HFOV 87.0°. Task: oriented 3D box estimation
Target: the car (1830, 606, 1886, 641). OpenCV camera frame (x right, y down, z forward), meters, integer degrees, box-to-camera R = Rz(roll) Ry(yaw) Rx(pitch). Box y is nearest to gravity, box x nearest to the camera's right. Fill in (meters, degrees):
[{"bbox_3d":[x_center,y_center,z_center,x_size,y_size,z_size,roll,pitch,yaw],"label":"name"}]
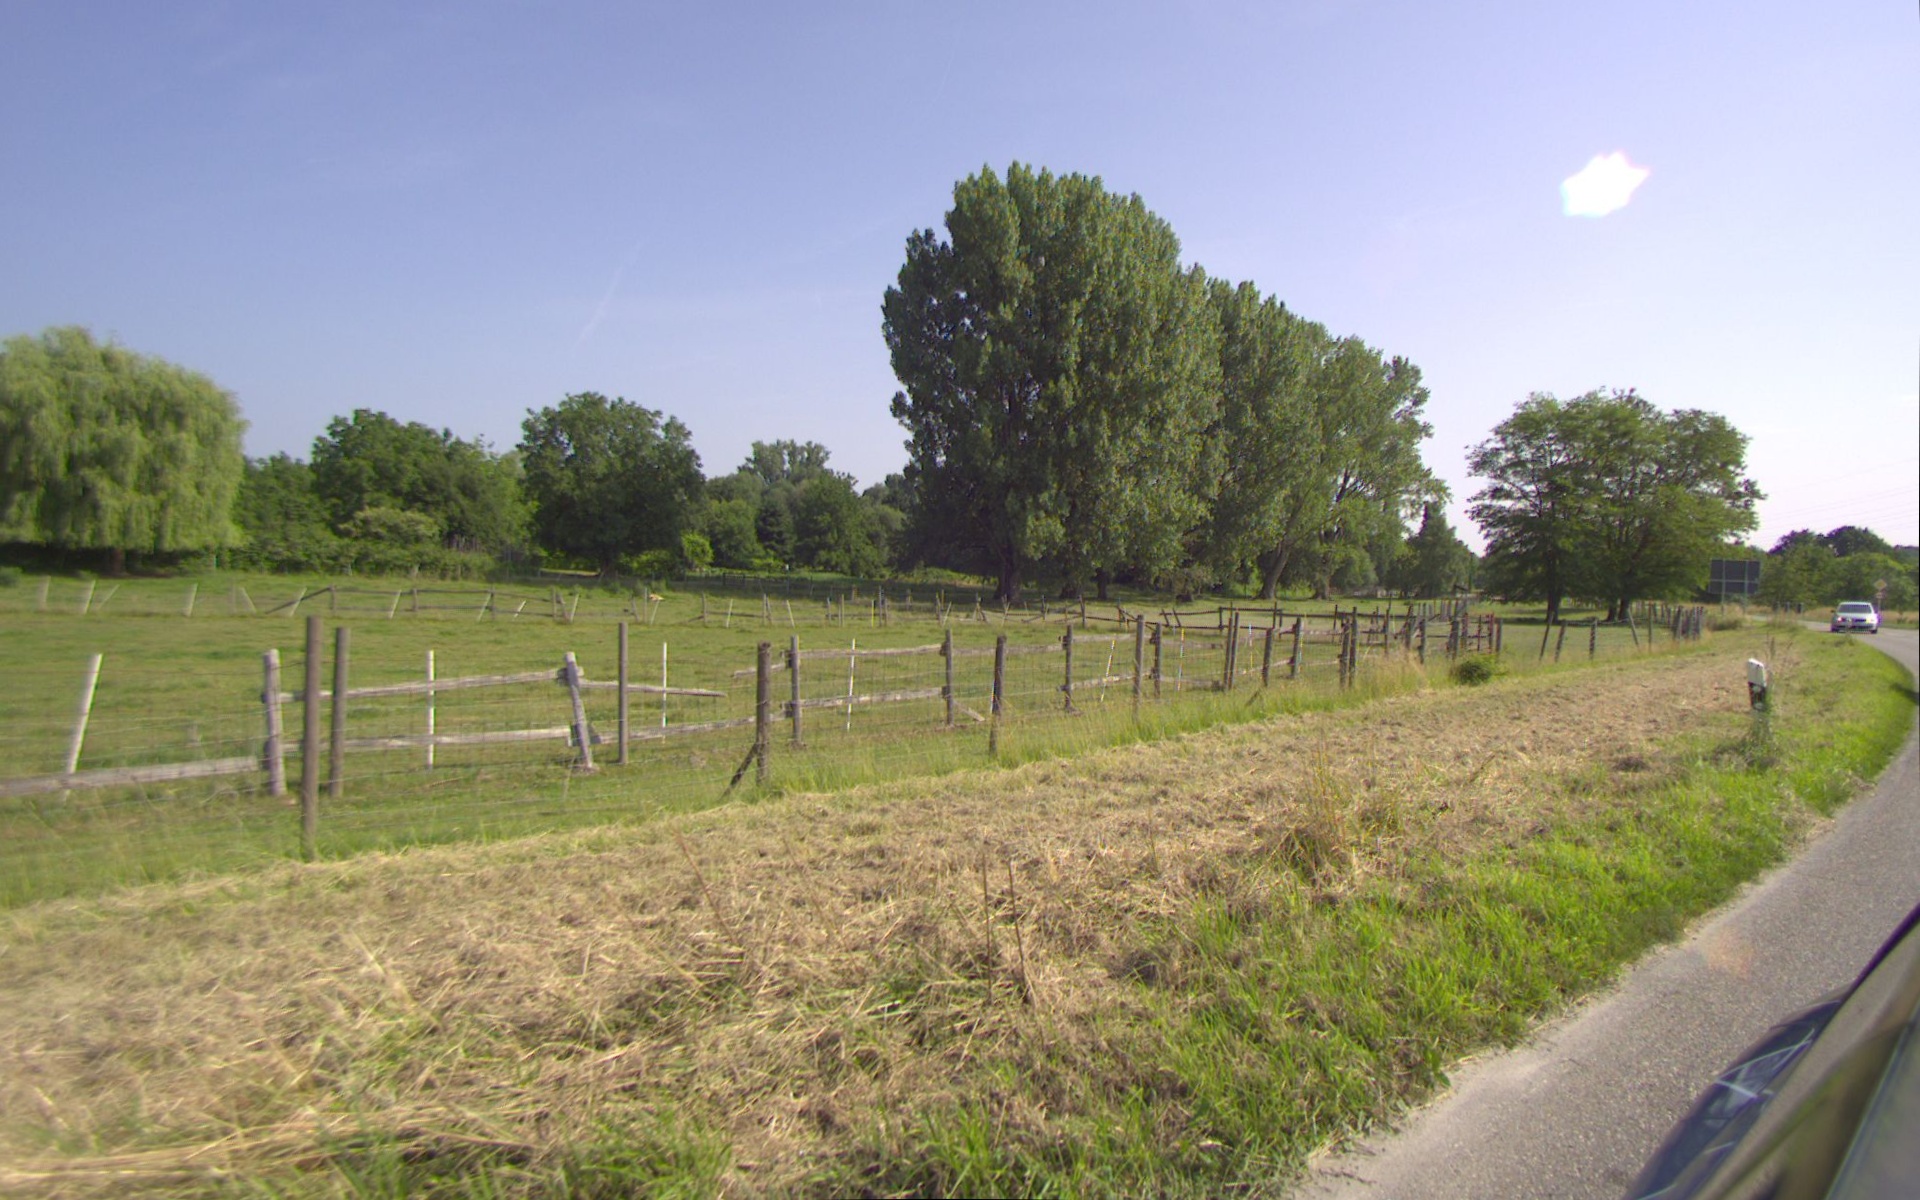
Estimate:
[{"bbox_3d":[45.661,1.167,51.509,1.992,1.599,3.851,3,1,41],"label":"car"}]
